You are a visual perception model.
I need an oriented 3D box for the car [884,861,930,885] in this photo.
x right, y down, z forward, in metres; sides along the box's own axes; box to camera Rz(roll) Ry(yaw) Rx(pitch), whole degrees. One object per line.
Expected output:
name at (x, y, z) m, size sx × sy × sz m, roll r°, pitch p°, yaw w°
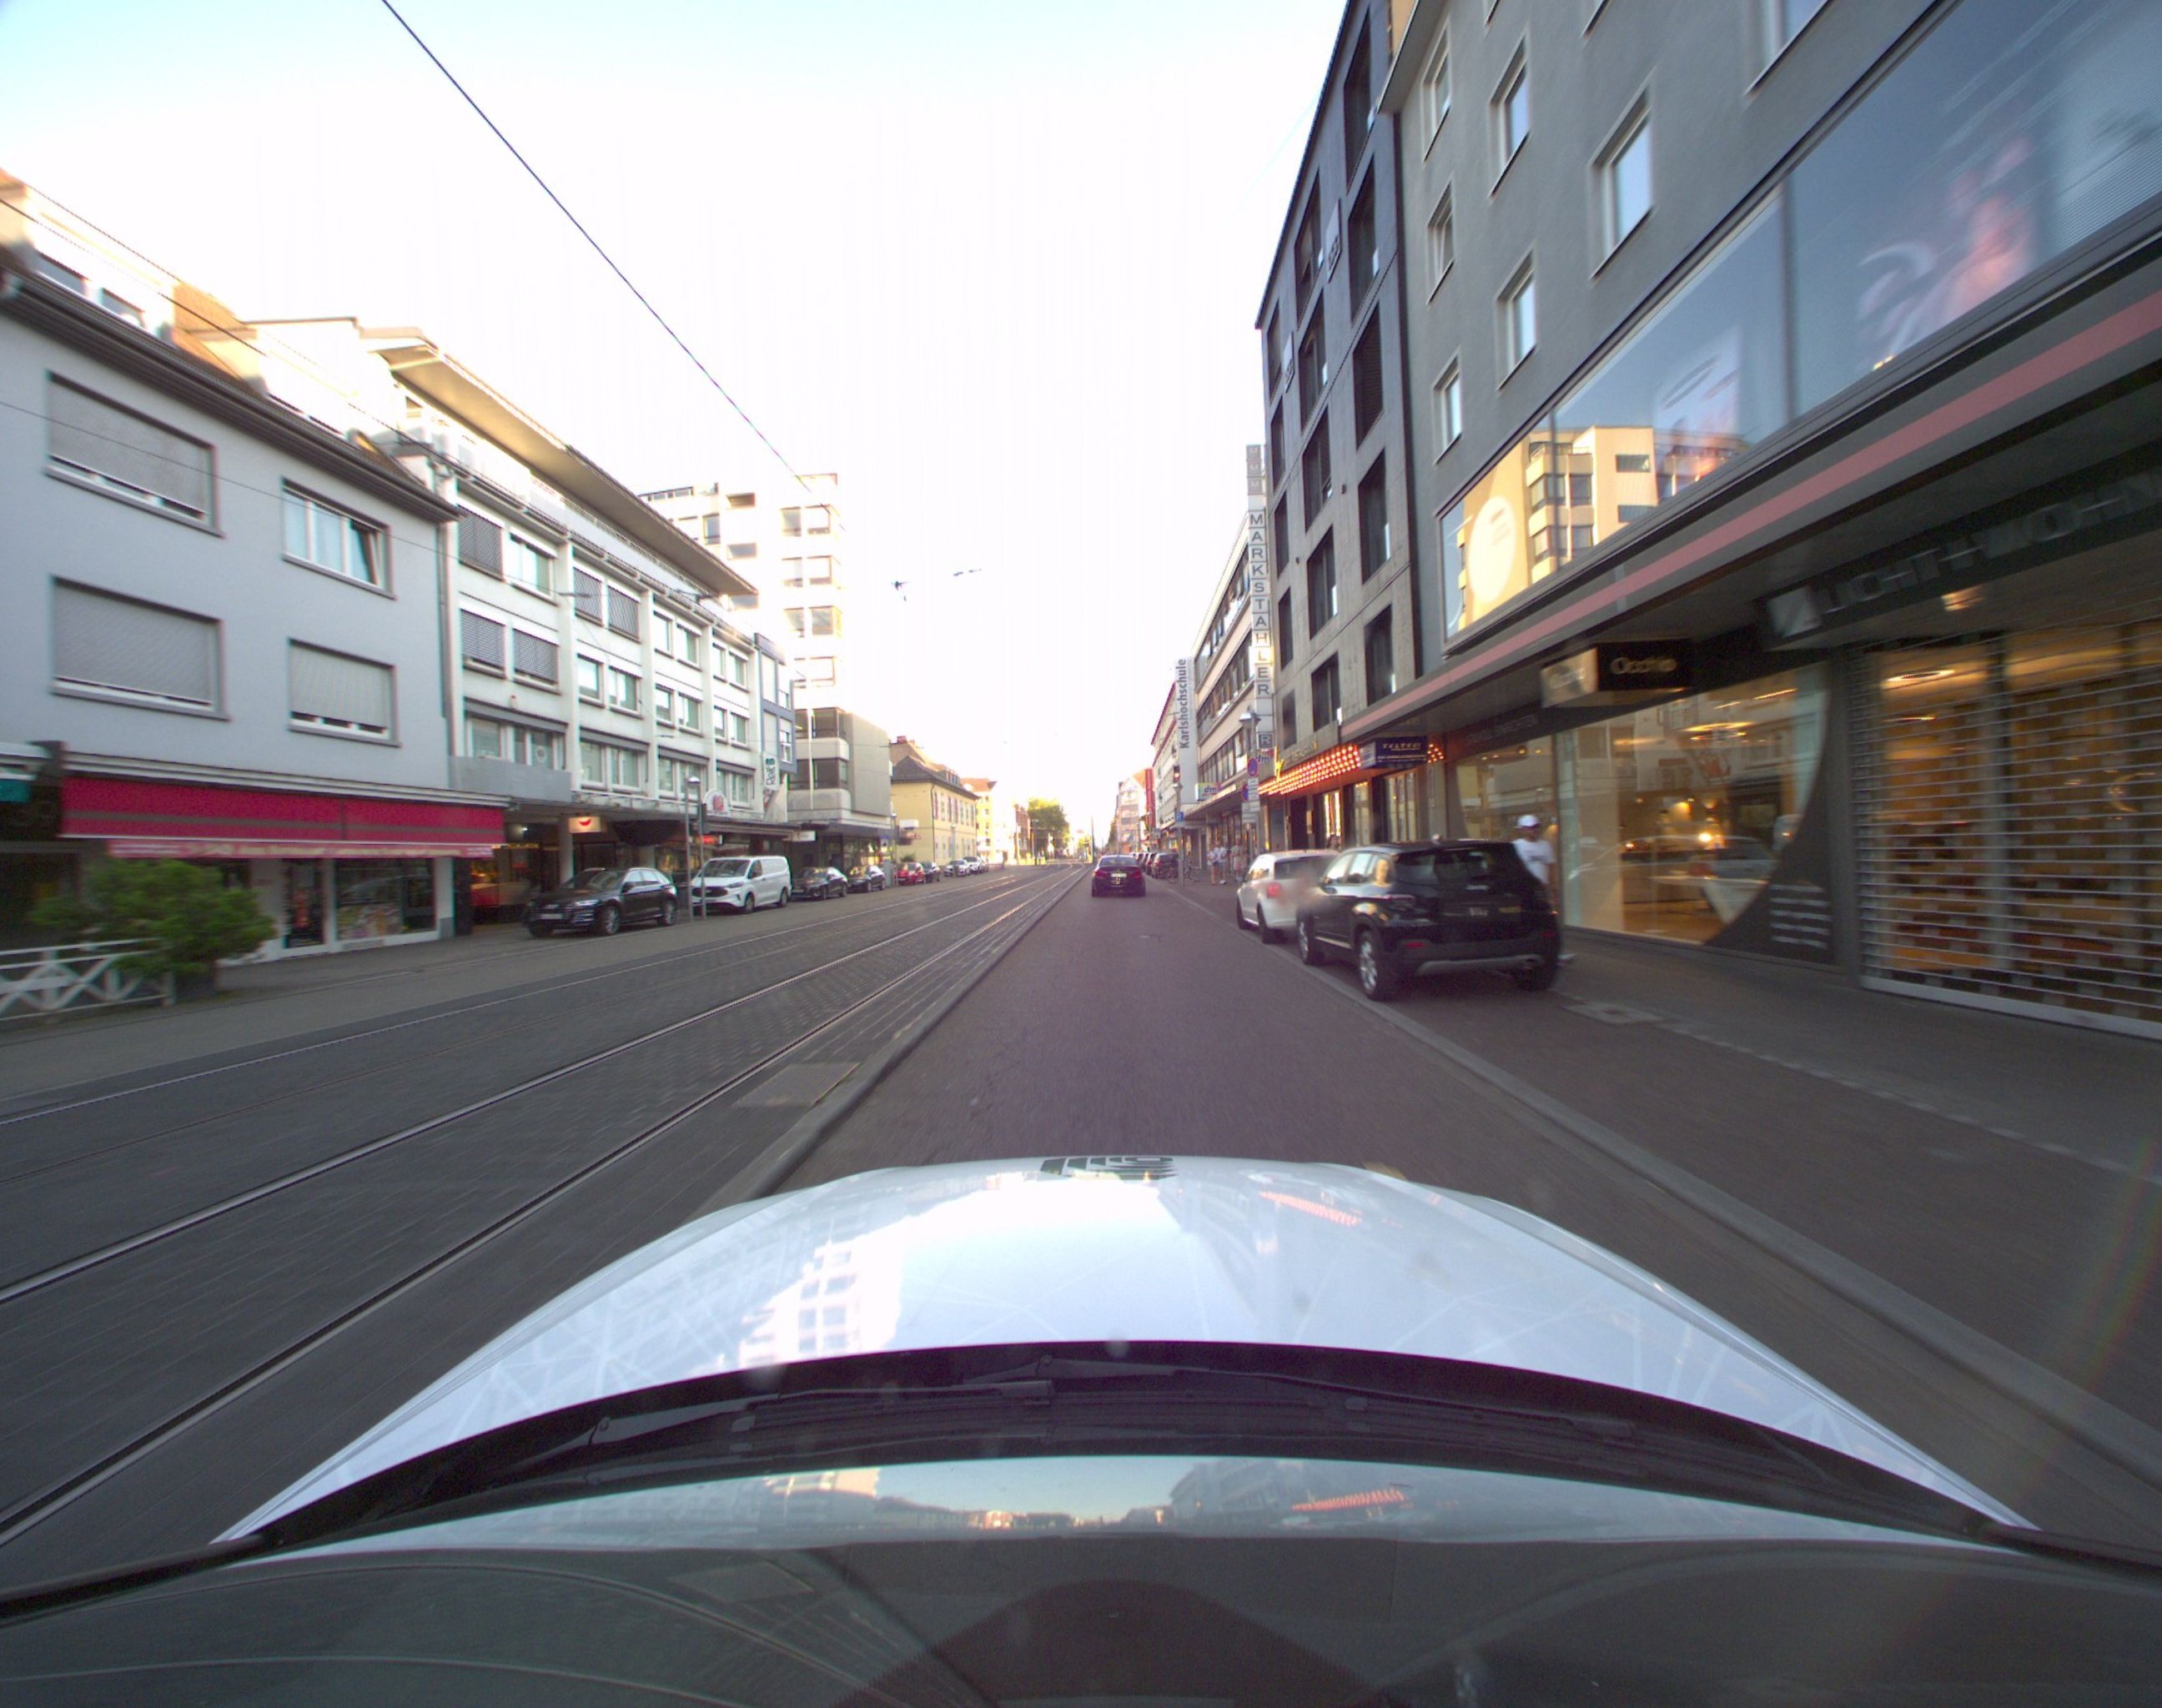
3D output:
car at (-11.295, 1.217, 53.228) m, size 1.921 × 1.435 × 4.248 m, roll -1°, pitch 0°, yaw 2°

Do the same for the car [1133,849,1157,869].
car at (5.388, 0.422, 68.726) m, size 1.768 × 1.549 × 3.504 m, roll -2°, pitch -1°, yaw 2°

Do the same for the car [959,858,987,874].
car at (-10.279, 1.130, 77.766) m, size 1.921 × 1.435 × 4.248 m, roll -1°, pitch 0°, yaw 2°

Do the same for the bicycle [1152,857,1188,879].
bicycle at (4.807, 0.738, 43.934) m, size 1.854 × 1.119 × 0.469 m, roll -2°, pitch -1°, yaw 2°

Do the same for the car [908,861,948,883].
car at (-10.895, 1.243, 58.210) m, size 1.921 × 1.435 × 4.248 m, roll -1°, pitch 0°, yaw 2°

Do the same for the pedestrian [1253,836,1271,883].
pedestrian at (7.094, 0.222, 31.925) m, size 0.506 × 1.792 × 0.760 m, roll -3°, pitch 0°, yaw 2°

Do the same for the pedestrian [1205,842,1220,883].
pedestrian at (5.494, 0.348, 34.098) m, size 0.473 × 1.699 × 0.753 m, roll -3°, pitch 0°, yaw 5°

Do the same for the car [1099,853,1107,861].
car at (5.864, 0.796, 217.860) m, size 1.986 × 1.838 × 4.000 m, roll -2°, pitch -3°, yaw 2°

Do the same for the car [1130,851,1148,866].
car at (6.394, 0.477, 89.969) m, size 1.768 × 1.549 × 3.504 m, roll -2°, pitch -1°, yaw 2°

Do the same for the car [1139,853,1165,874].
car at (5.483, 0.739, 63.387) m, size 1.768 × 1.549 × 3.504 m, roll -2°, pitch -1°, yaw 2°

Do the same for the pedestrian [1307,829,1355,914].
pedestrian at (5.044, 0.353, 16.430) m, size 0.557 × 1.647 × 0.756 m, roll -3°, pitch 0°, yaw -13°

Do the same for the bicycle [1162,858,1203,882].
bicycle at (4.761, 0.737, 38.122) m, size 1.854 × 1.080 × 0.469 m, roll -2°, pitch -1°, yaw 2°

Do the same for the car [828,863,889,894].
car at (-11.670, 1.246, 42.972) m, size 1.921 × 1.435 × 4.248 m, roll -1°, pitch 0°, yaw 2°

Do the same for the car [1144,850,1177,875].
car at (5.245, 0.565, 53.993) m, size 1.896 × 1.549 × 3.781 m, roll -2°, pitch -1°, yaw 2°

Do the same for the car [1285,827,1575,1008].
car at (3.630, 0.572, 9.272) m, size 1.648 × 1.537 × 3.887 m, roll -3°, pitch 0°, yaw 1°

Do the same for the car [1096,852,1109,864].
car at (2.994, 0.605, 111.649) m, size 1.768 × 1.549 × 3.504 m, roll -2°, pitch -1°, yaw 2°

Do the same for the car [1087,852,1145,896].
car at (1.320, 0.672, 29.770) m, size 1.945 × 1.498 × 4.469 m, roll 0°, pitch 0°, yaw 3°

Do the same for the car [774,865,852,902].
car at (-11.858, 1.273, 36.293) m, size 1.921 × 1.435 × 4.248 m, roll -1°, pitch 0°, yaw 2°

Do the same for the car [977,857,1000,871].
car at (-10.378, 1.118, 91.767) m, size 1.921 × 1.435 × 4.248 m, roll -1°, pitch 0°, yaw 2°

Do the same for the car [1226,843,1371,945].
car at (3.644, 0.606, 14.257) m, size 1.553 × 1.442 × 3.711 m, roll -4°, pitch 0°, yaw 2°

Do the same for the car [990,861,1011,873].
car at (-9.950, 1.578, 100.925) m, size 1.921 × 1.435 × 4.248 m, roll -1°, pitch 0°, yaw 2°

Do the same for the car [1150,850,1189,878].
car at (5.080, 0.571, 47.277) m, size 1.896 × 1.549 × 4.001 m, roll -2°, pitch -1°, yaw 2°

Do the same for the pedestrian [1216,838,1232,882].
pedestrian at (5.980, 0.256, 34.071) m, size 0.486 × 1.790 × 0.761 m, roll -3°, pitch 0°, yaw 5°

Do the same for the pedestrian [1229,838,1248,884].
pedestrian at (6.210, 0.273, 32.134) m, size 0.552 × 1.791 × 0.760 m, roll -3°, pitch 0°, yaw 2°

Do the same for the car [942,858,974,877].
car at (-10.782, 1.174, 71.606) m, size 1.921 × 1.435 × 4.248 m, roll -3°, pitch 0°, yaw 2°

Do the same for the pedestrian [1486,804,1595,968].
pedestrian at (5.195, 0.350, 9.259) m, size 0.686 × 1.740 × 0.821 m, roll -4°, pitch 0°, yaw 3°

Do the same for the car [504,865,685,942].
car at (-12.384, 1.189, 21.140) m, size 1.852 × 1.677 × 4.466 m, roll -1°, pitch 0°, yaw 2°

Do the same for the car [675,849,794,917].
car at (-12.117, 0.940, 28.923) m, size 1.987 × 2.156 × 4.911 m, roll -2°, pitch 0°, yaw 1°
